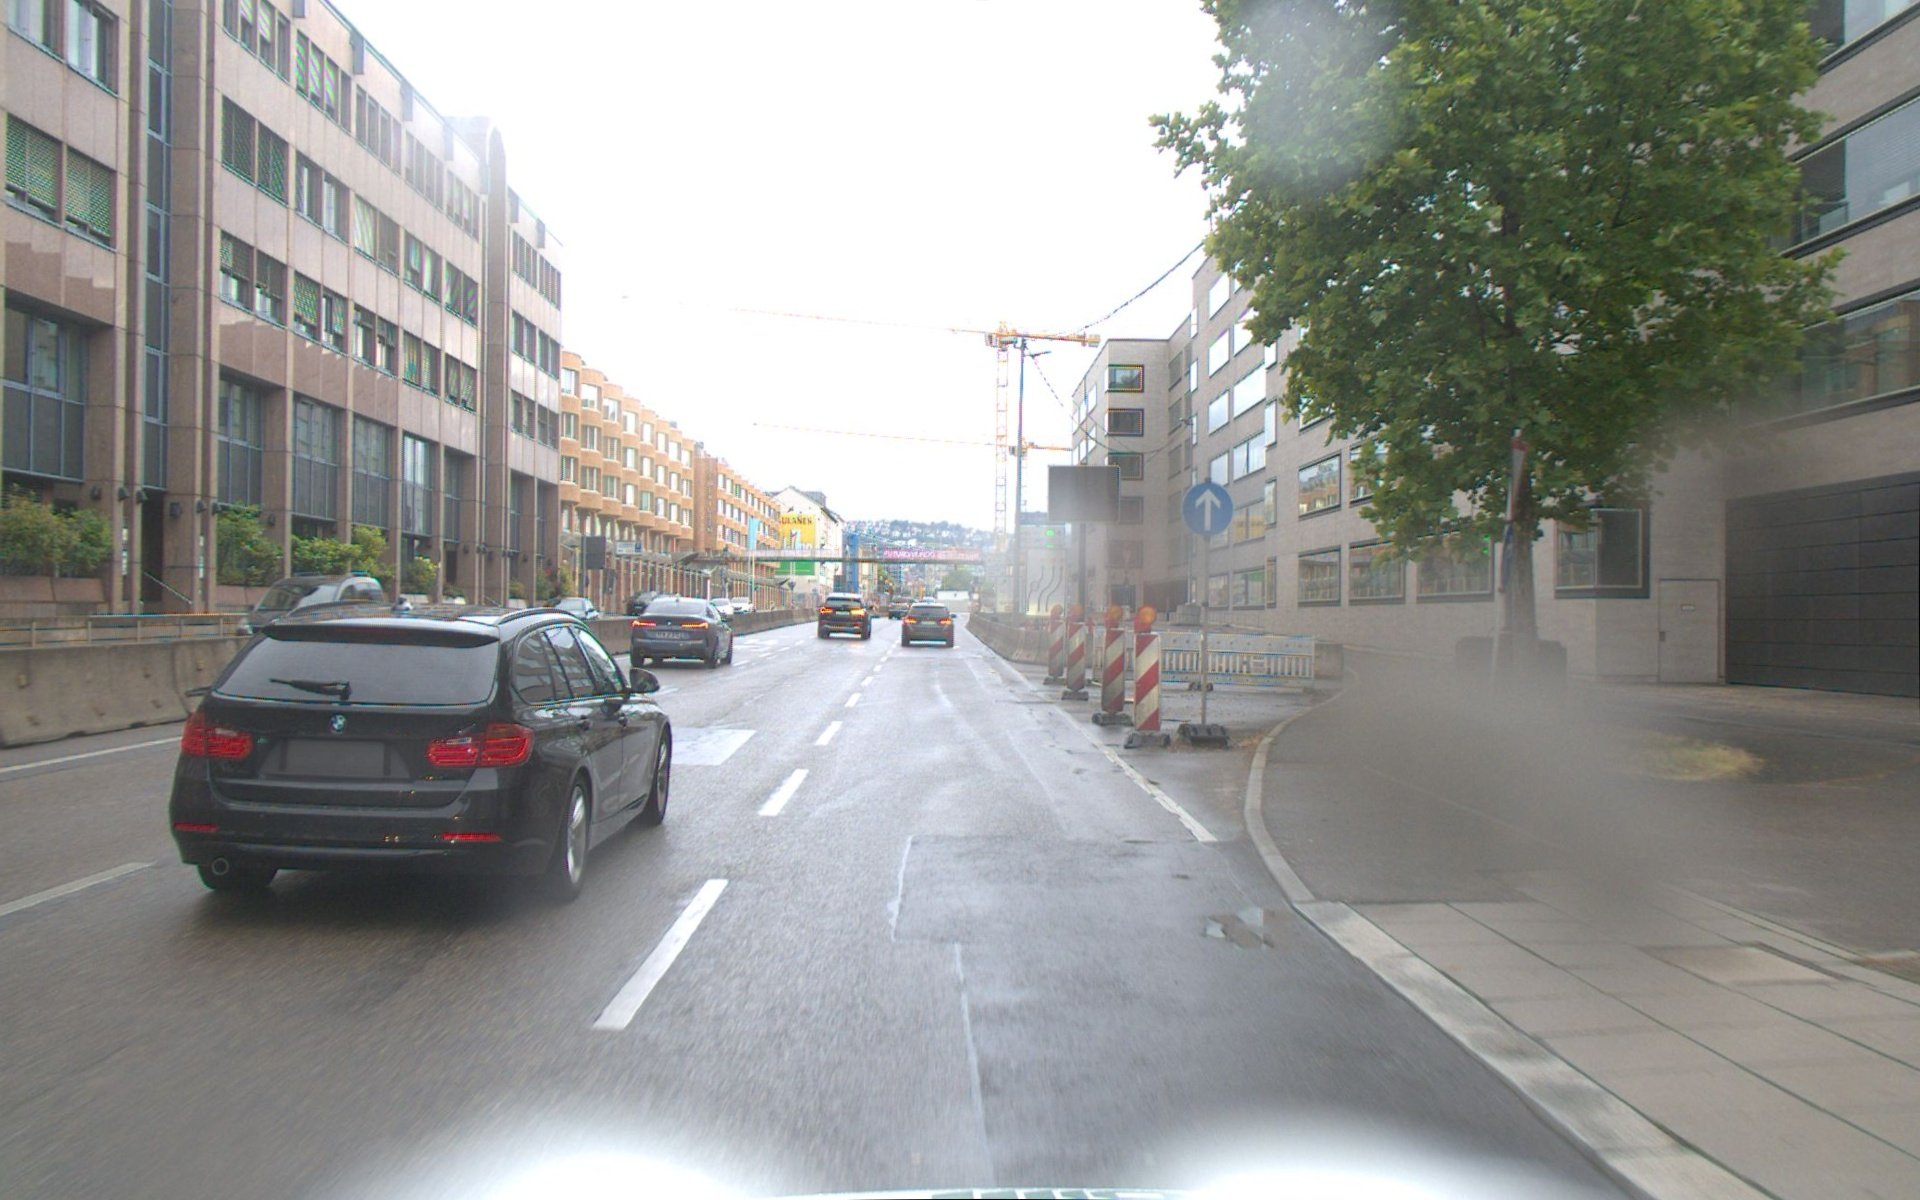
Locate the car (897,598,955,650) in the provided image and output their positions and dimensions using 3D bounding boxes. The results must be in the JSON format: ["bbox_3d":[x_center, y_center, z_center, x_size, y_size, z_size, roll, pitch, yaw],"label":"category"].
[{"bbox_3d":[-1.129,0.818,56.746,1.861,1.723,4.000,0,0,1],"label":"car"}]

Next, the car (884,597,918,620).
[{"bbox_3d":[-4.424,0.644,124.189,1.859,1.723,4.003,0,0,8],"label":"car"}]

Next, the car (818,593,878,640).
[{"bbox_3d":[-4.175,0.610,62.303,1.860,1.723,4.001,0,0,2],"label":"car"}]

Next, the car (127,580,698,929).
[{"bbox_3d":[-2.677,0.652,9.303,1.755,1.451,4.612,1,0,-1],"label":"car"}]

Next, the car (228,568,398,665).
[{"bbox_3d":[-12.780,0.320,32.958,1.686,1.801,4.424,0,0,-1],"label":"car"}]

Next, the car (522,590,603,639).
[{"bbox_3d":[-13.213,0.468,55.157,1.823,1.560,4.229,0,0,-2],"label":"car"}]

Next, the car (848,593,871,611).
[{"bbox_3d":[-9.355,0.154,154.104,1.953,1.648,4.762,0,0,0],"label":"car"}]

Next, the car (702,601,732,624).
[{"bbox_3d":[-16.358,0.813,111.527,1.570,1.468,3.657,0,1,-1],"label":"car"}]

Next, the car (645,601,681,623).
[{"bbox_3d":[-22.881,0.941,127.650,1.953,1.648,4.762,0,0,-1],"label":"car"}]

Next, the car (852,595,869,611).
[{"bbox_3d":[-13.012,0.448,216.571,1.952,2.049,4.000,0,0,0],"label":"car"}]

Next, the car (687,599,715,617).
[{"bbox_3d":[-24.494,0.775,156.633,1.953,1.648,4.689,0,0,-1],"label":"car"}]

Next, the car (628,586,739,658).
[{"bbox_3d":[-5.850,0.452,35.450,1.754,1.451,4.383,0,0,-2],"label":"car"}]

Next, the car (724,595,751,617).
[{"bbox_3d":[-17.938,0.479,133.563,1.783,1.647,4.190,0,1,-2],"label":"car"}]

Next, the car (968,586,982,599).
[{"bbox_3d":[2.155,-1.068,230.382,1.860,1.723,4.001,0,0,2],"label":"car"}]
